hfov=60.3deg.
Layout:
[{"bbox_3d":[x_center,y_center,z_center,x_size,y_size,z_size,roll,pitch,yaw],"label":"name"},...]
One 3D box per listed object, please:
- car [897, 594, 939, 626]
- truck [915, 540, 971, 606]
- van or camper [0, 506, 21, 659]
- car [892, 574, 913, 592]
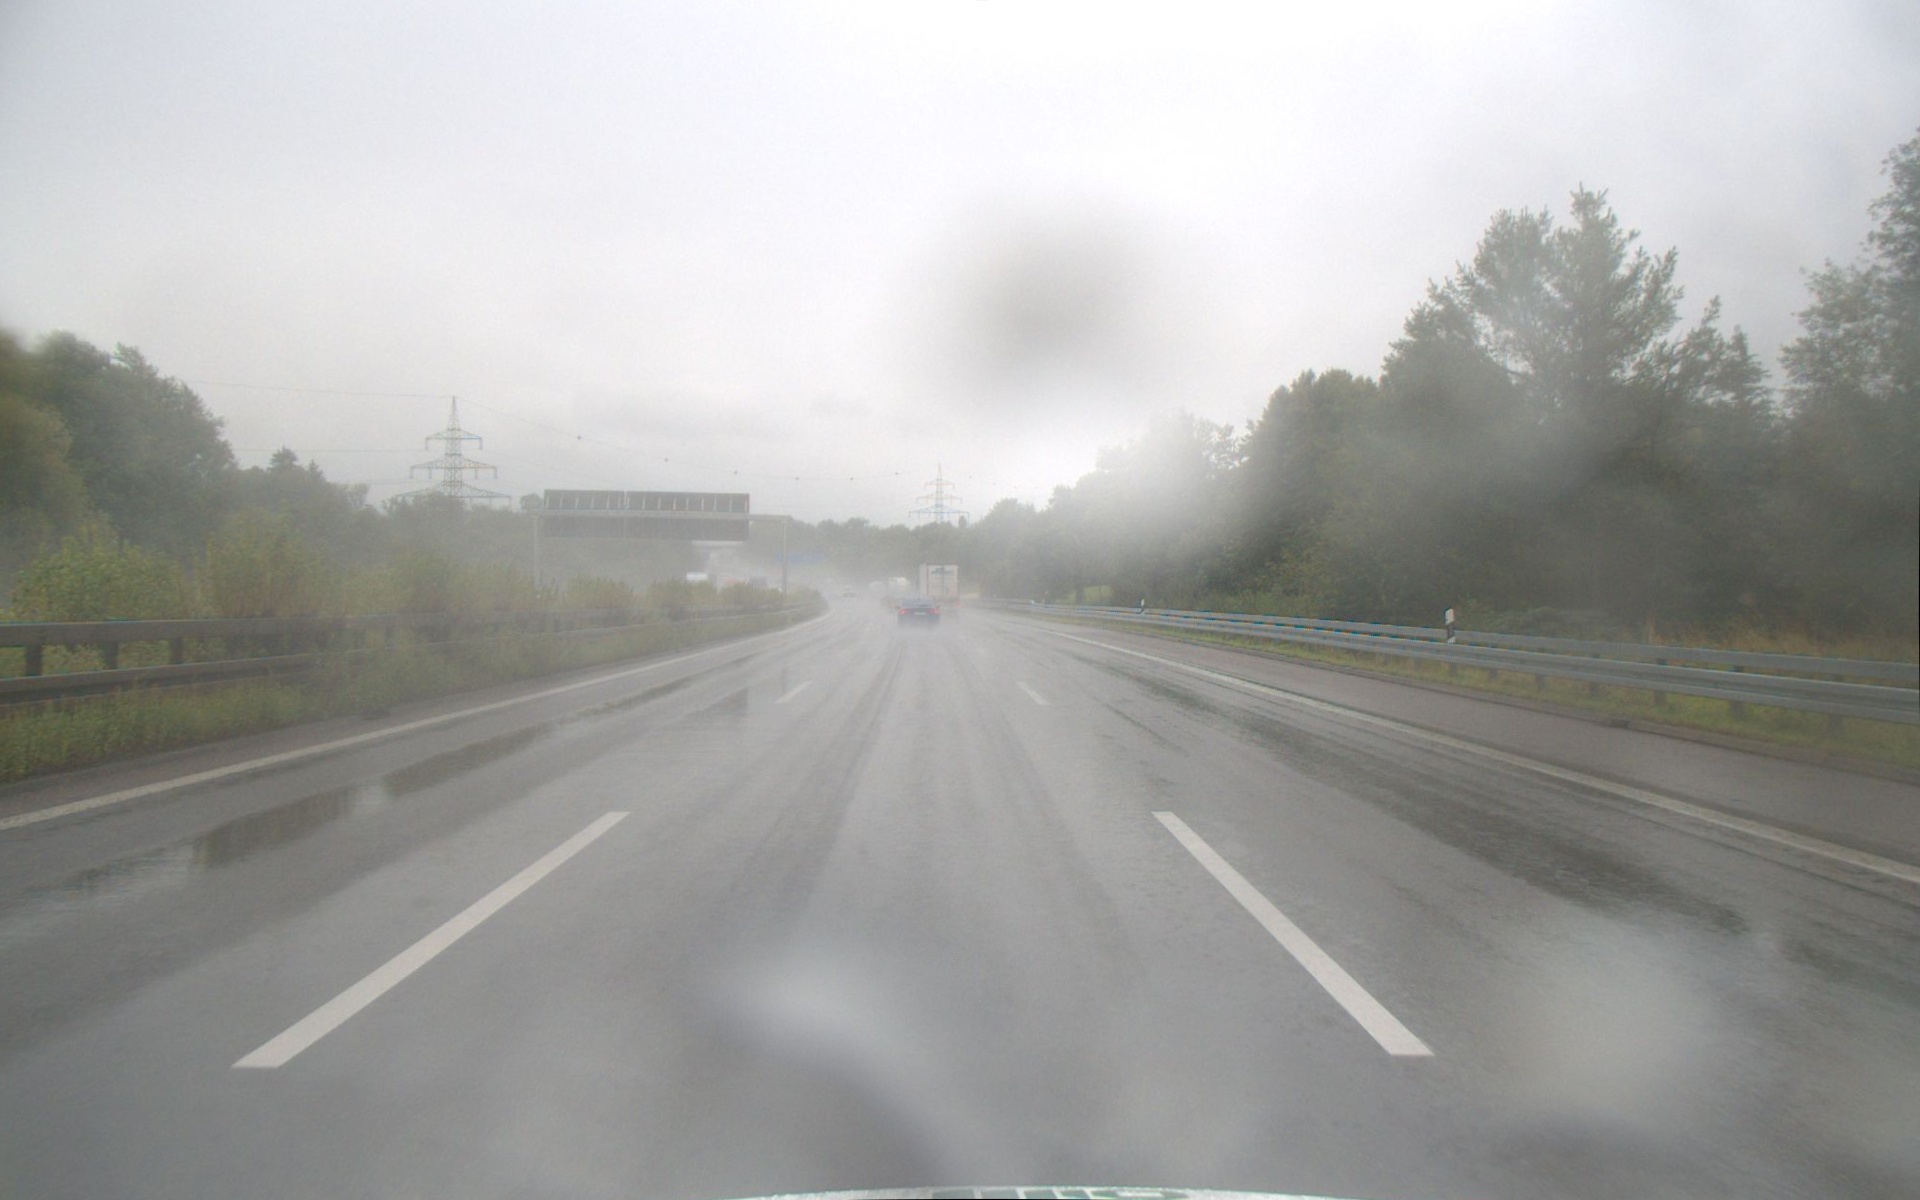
[{"bbox_3d":[-1.787,0.405,71.149,1.713,1.233,3.999,2,0,-1],"label":"car"},{"bbox_3d":[-1.592,-2.246,137.883,4.171,5.058,17.335,-1,1,-2],"label":"truck"},{"bbox_3d":[-21.053,-0.344,29.969,2.829,3.140,9.512,0,0,-2],"label":"van or camper"},{"bbox_3d":[-7.969,-2.366,229.188,2.348,2.312,4.995,1,1,-7],"label":"car"}]
